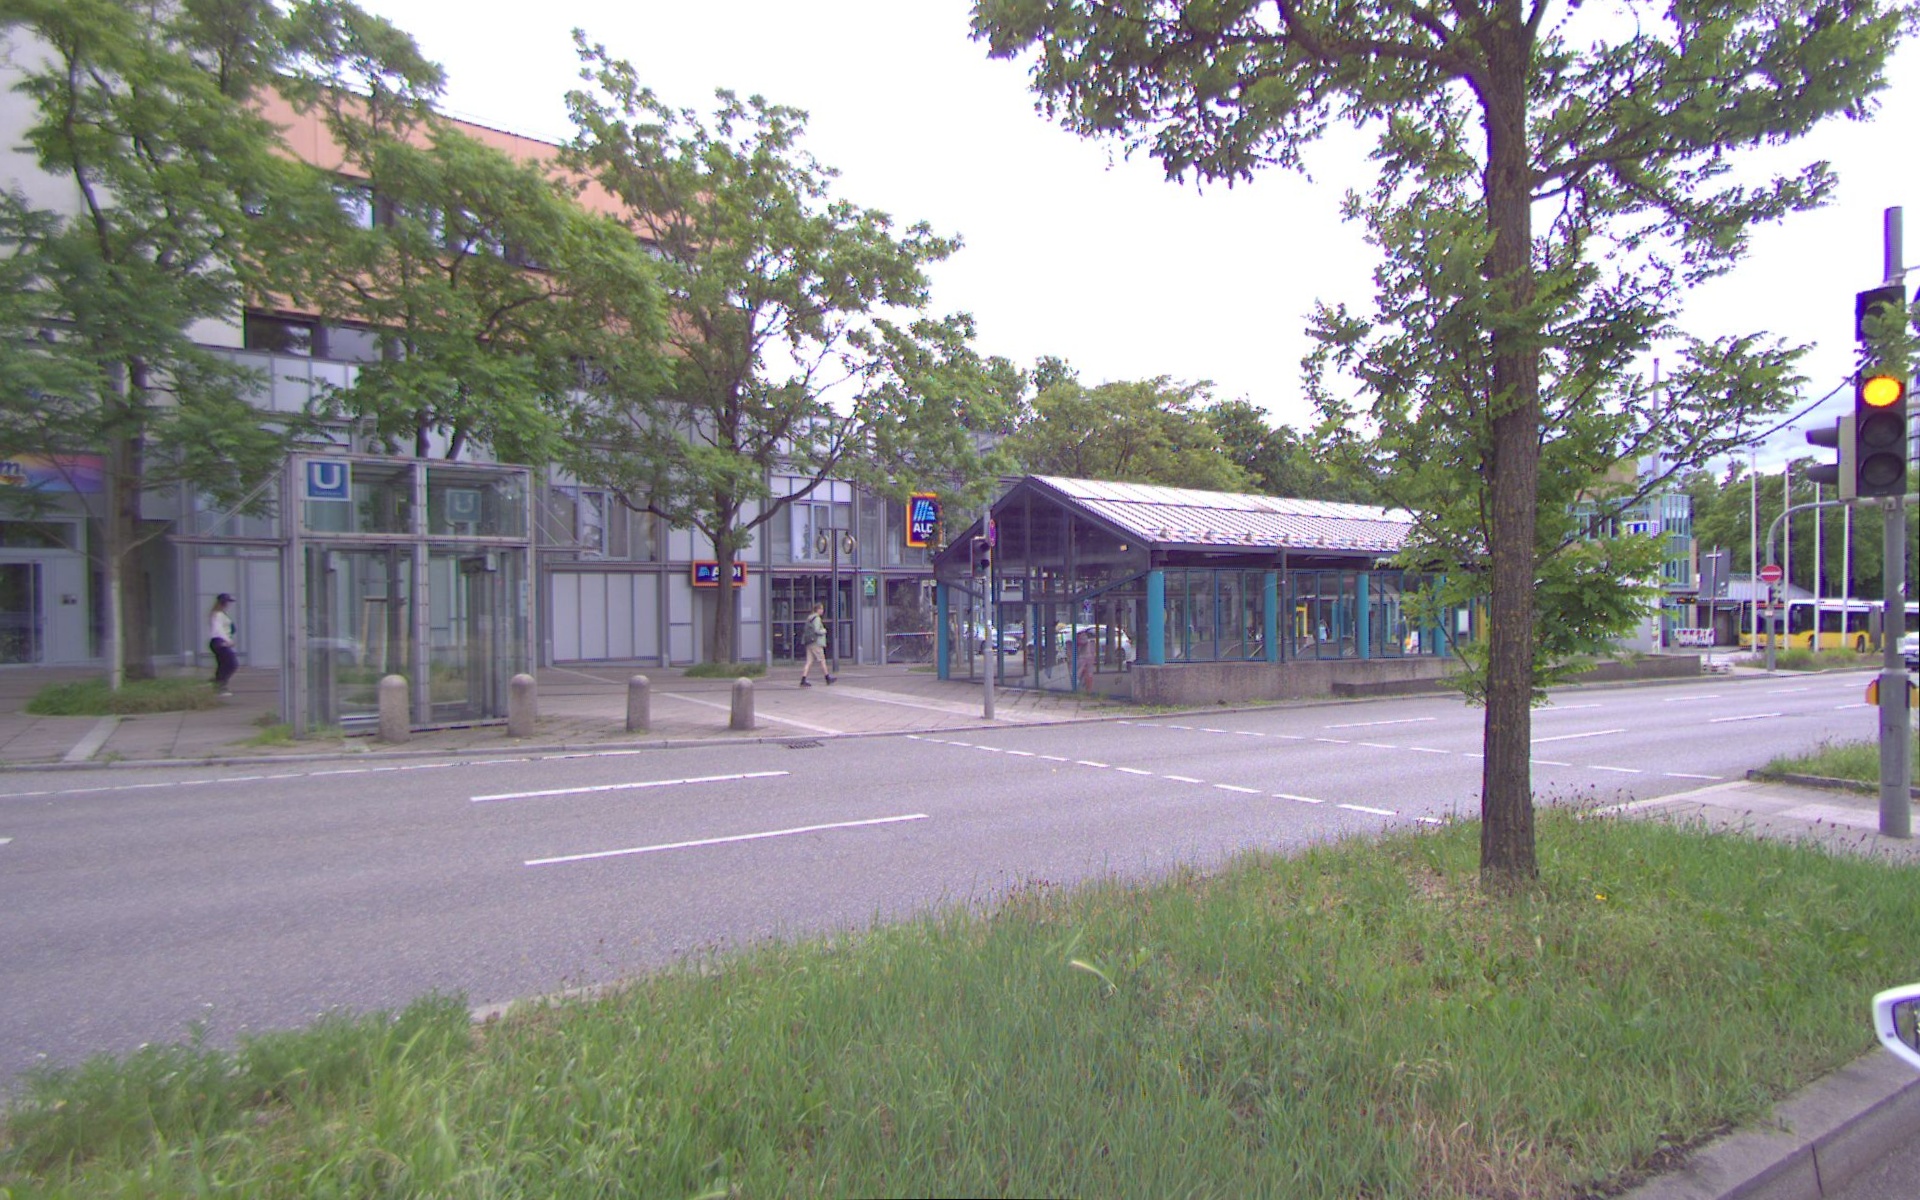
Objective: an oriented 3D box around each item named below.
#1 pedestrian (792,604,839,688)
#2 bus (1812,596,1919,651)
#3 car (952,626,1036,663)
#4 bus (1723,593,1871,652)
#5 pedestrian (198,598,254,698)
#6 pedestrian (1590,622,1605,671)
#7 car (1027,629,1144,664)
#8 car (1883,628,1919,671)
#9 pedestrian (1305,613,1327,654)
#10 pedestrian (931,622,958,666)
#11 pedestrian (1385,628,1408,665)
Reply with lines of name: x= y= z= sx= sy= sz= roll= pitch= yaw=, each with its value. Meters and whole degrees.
pedestrian: x=-3.268 y=1.028 z=22.788 sx=0.530 sy=1.857 sz=0.916 roll=0 pitch=-1 yaw=44
bus: x=57.917 y=1.540 z=63.773 sx=7.771 sy=3.313 sz=2.980 roll=1 pitch=-1 yaw=-26
car: x=1.649 y=2.189 z=50.378 sx=1.769 sy=1.710 sz=4.838 roll=1 pitch=-1 yaw=-33
bus: x=49.921 y=1.378 z=59.831 sx=10.036 sy=3.293 sz=2.980 roll=1 pitch=-1 yaw=-26
pedestrian: x=-12.645 y=0.806 z=17.328 sx=0.714 sy=1.672 sz=0.672 roll=1 pitch=0 yaw=-34
pedestrian: x=21.023 y=1.520 z=33.136 sx=0.412 sy=1.612 sz=0.356 roll=0 pitch=-1 yaw=31
car: x=4.489 y=1.637 z=35.760 sx=3.959 sy=1.184 sz=1.812 roll=1 pitch=-2 yaw=-34
car: x=37.548 y=1.912 z=39.169 sx=3.316 sy=1.599 sz=1.673 roll=1 pitch=-1 yaw=-36
pedestrian: x=14.724 y=1.363 z=41.541 sx=0.703 sy=1.677 sz=0.517 roll=1 pitch=0 yaw=-37
pedestrian: x=-0.538 y=1.520 z=34.720 sx=0.748 sy=1.499 sz=0.525 roll=1 pitch=-1 yaw=-36
pedestrian: x=19.270 y=2.029 z=44.312 sx=0.652 sy=1.591 sz=0.633 roll=2 pitch=0 yaw=-23
